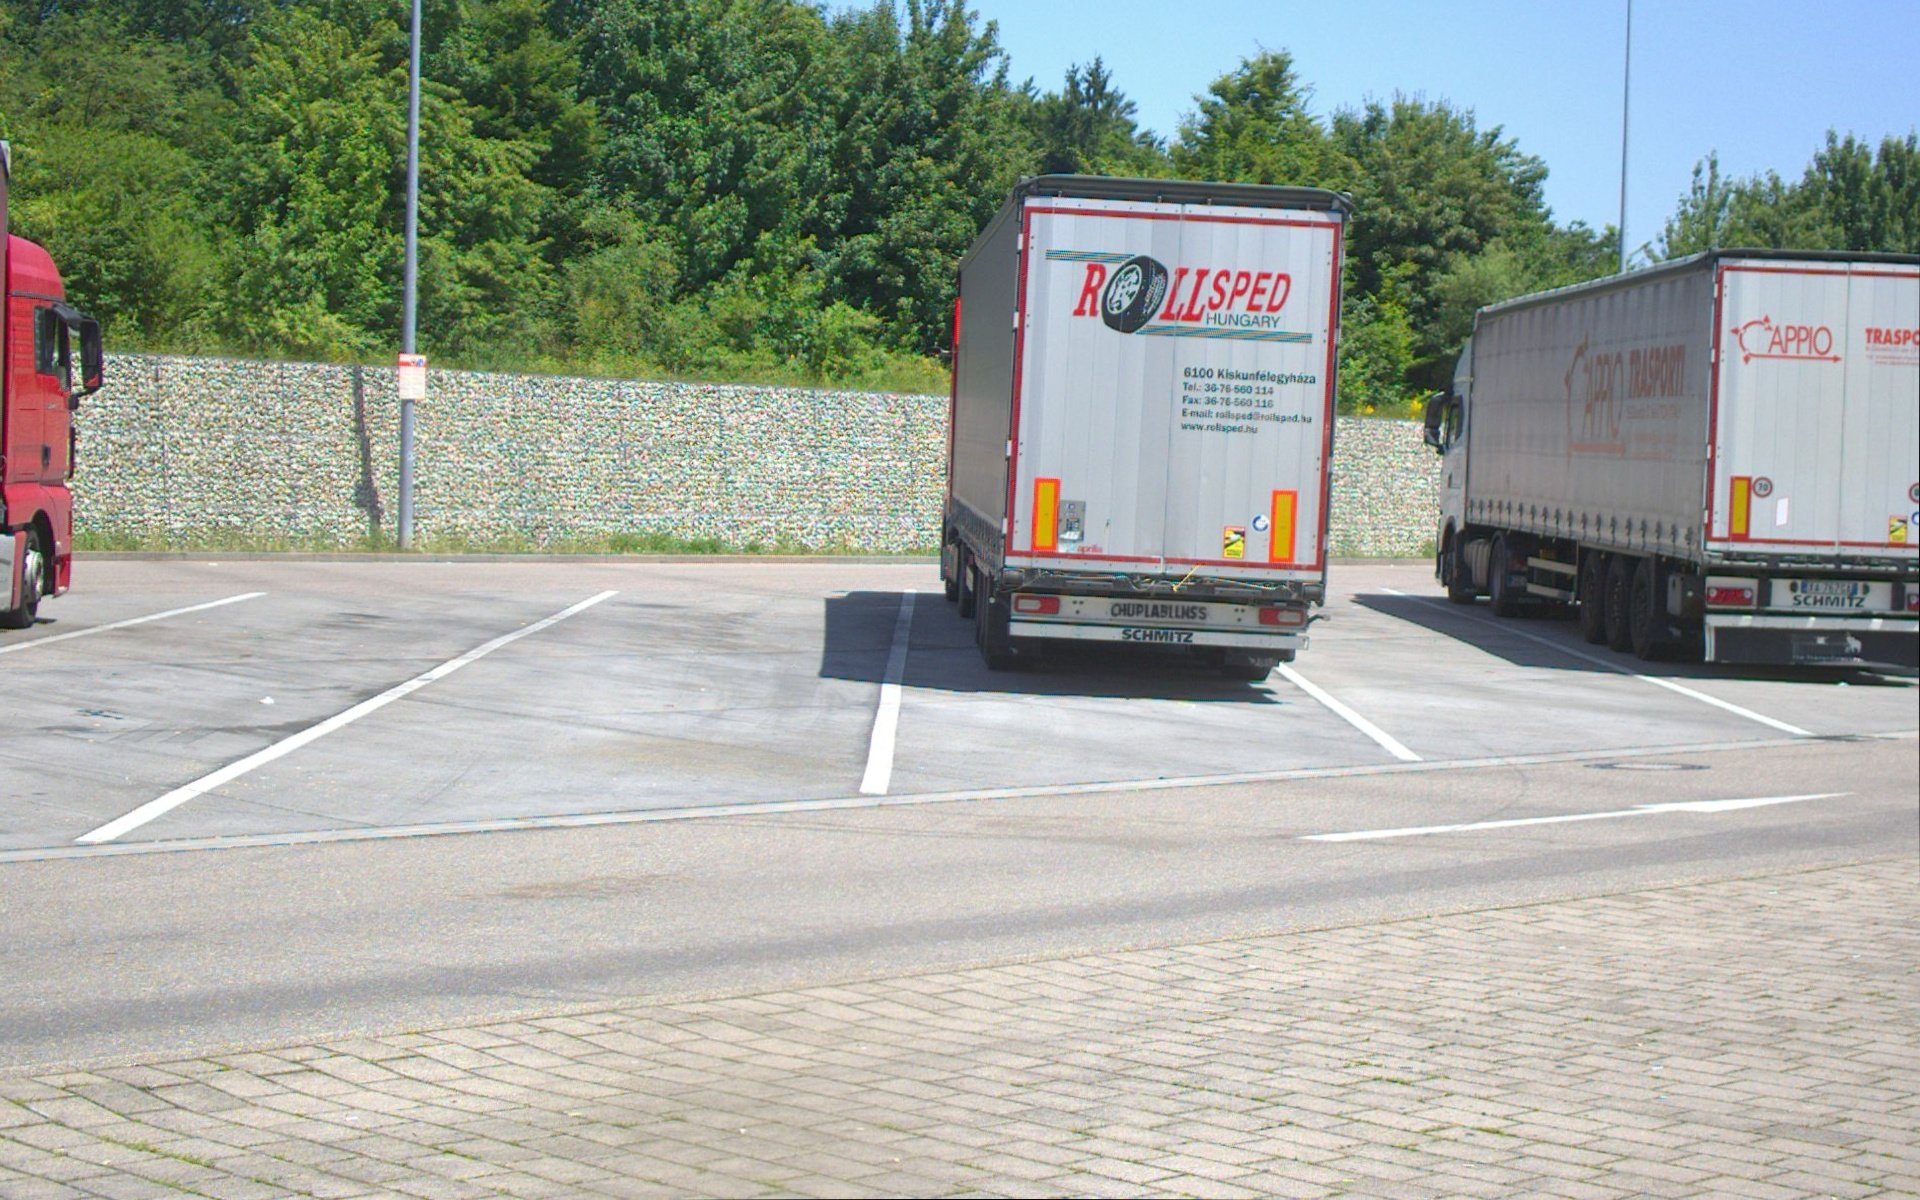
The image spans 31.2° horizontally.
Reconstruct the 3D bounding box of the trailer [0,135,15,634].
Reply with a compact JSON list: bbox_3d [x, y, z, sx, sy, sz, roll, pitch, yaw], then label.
[{"bbox_3d":[-9.161,-1.465,21.368,2.821,4.057,13.765,2,3,-1],"label":"trailer"}]

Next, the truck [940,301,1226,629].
[{"bbox_3d":[1.280,-1.572,39.309,2.865,3.351,5.975,2,3,-1],"label":"truck"}]

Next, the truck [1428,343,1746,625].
[{"bbox_3d":[8.092,-1.567,45.127,2.865,3.351,5.975,2,3,-1],"label":"truck"}]

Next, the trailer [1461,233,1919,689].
[{"bbox_3d":[8.193,-1.587,38.361,2.858,4.095,13.765,2,3,-1],"label":"trailer"}]

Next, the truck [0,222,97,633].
[{"bbox_3d":[-9.248,-1.456,28.187,2.812,3.351,5.975,2,3,-1],"label":"truck"}]

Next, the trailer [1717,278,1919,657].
[{"bbox_3d":[11.790,-1.502,39.373,2.858,4.095,13.765,2,3,-1],"label":"trailer"}]

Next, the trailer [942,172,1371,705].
[{"bbox_3d":[1.463,-1.567,33.108,2.858,3.958,13.765,2,3,-1],"label":"trailer"}]
